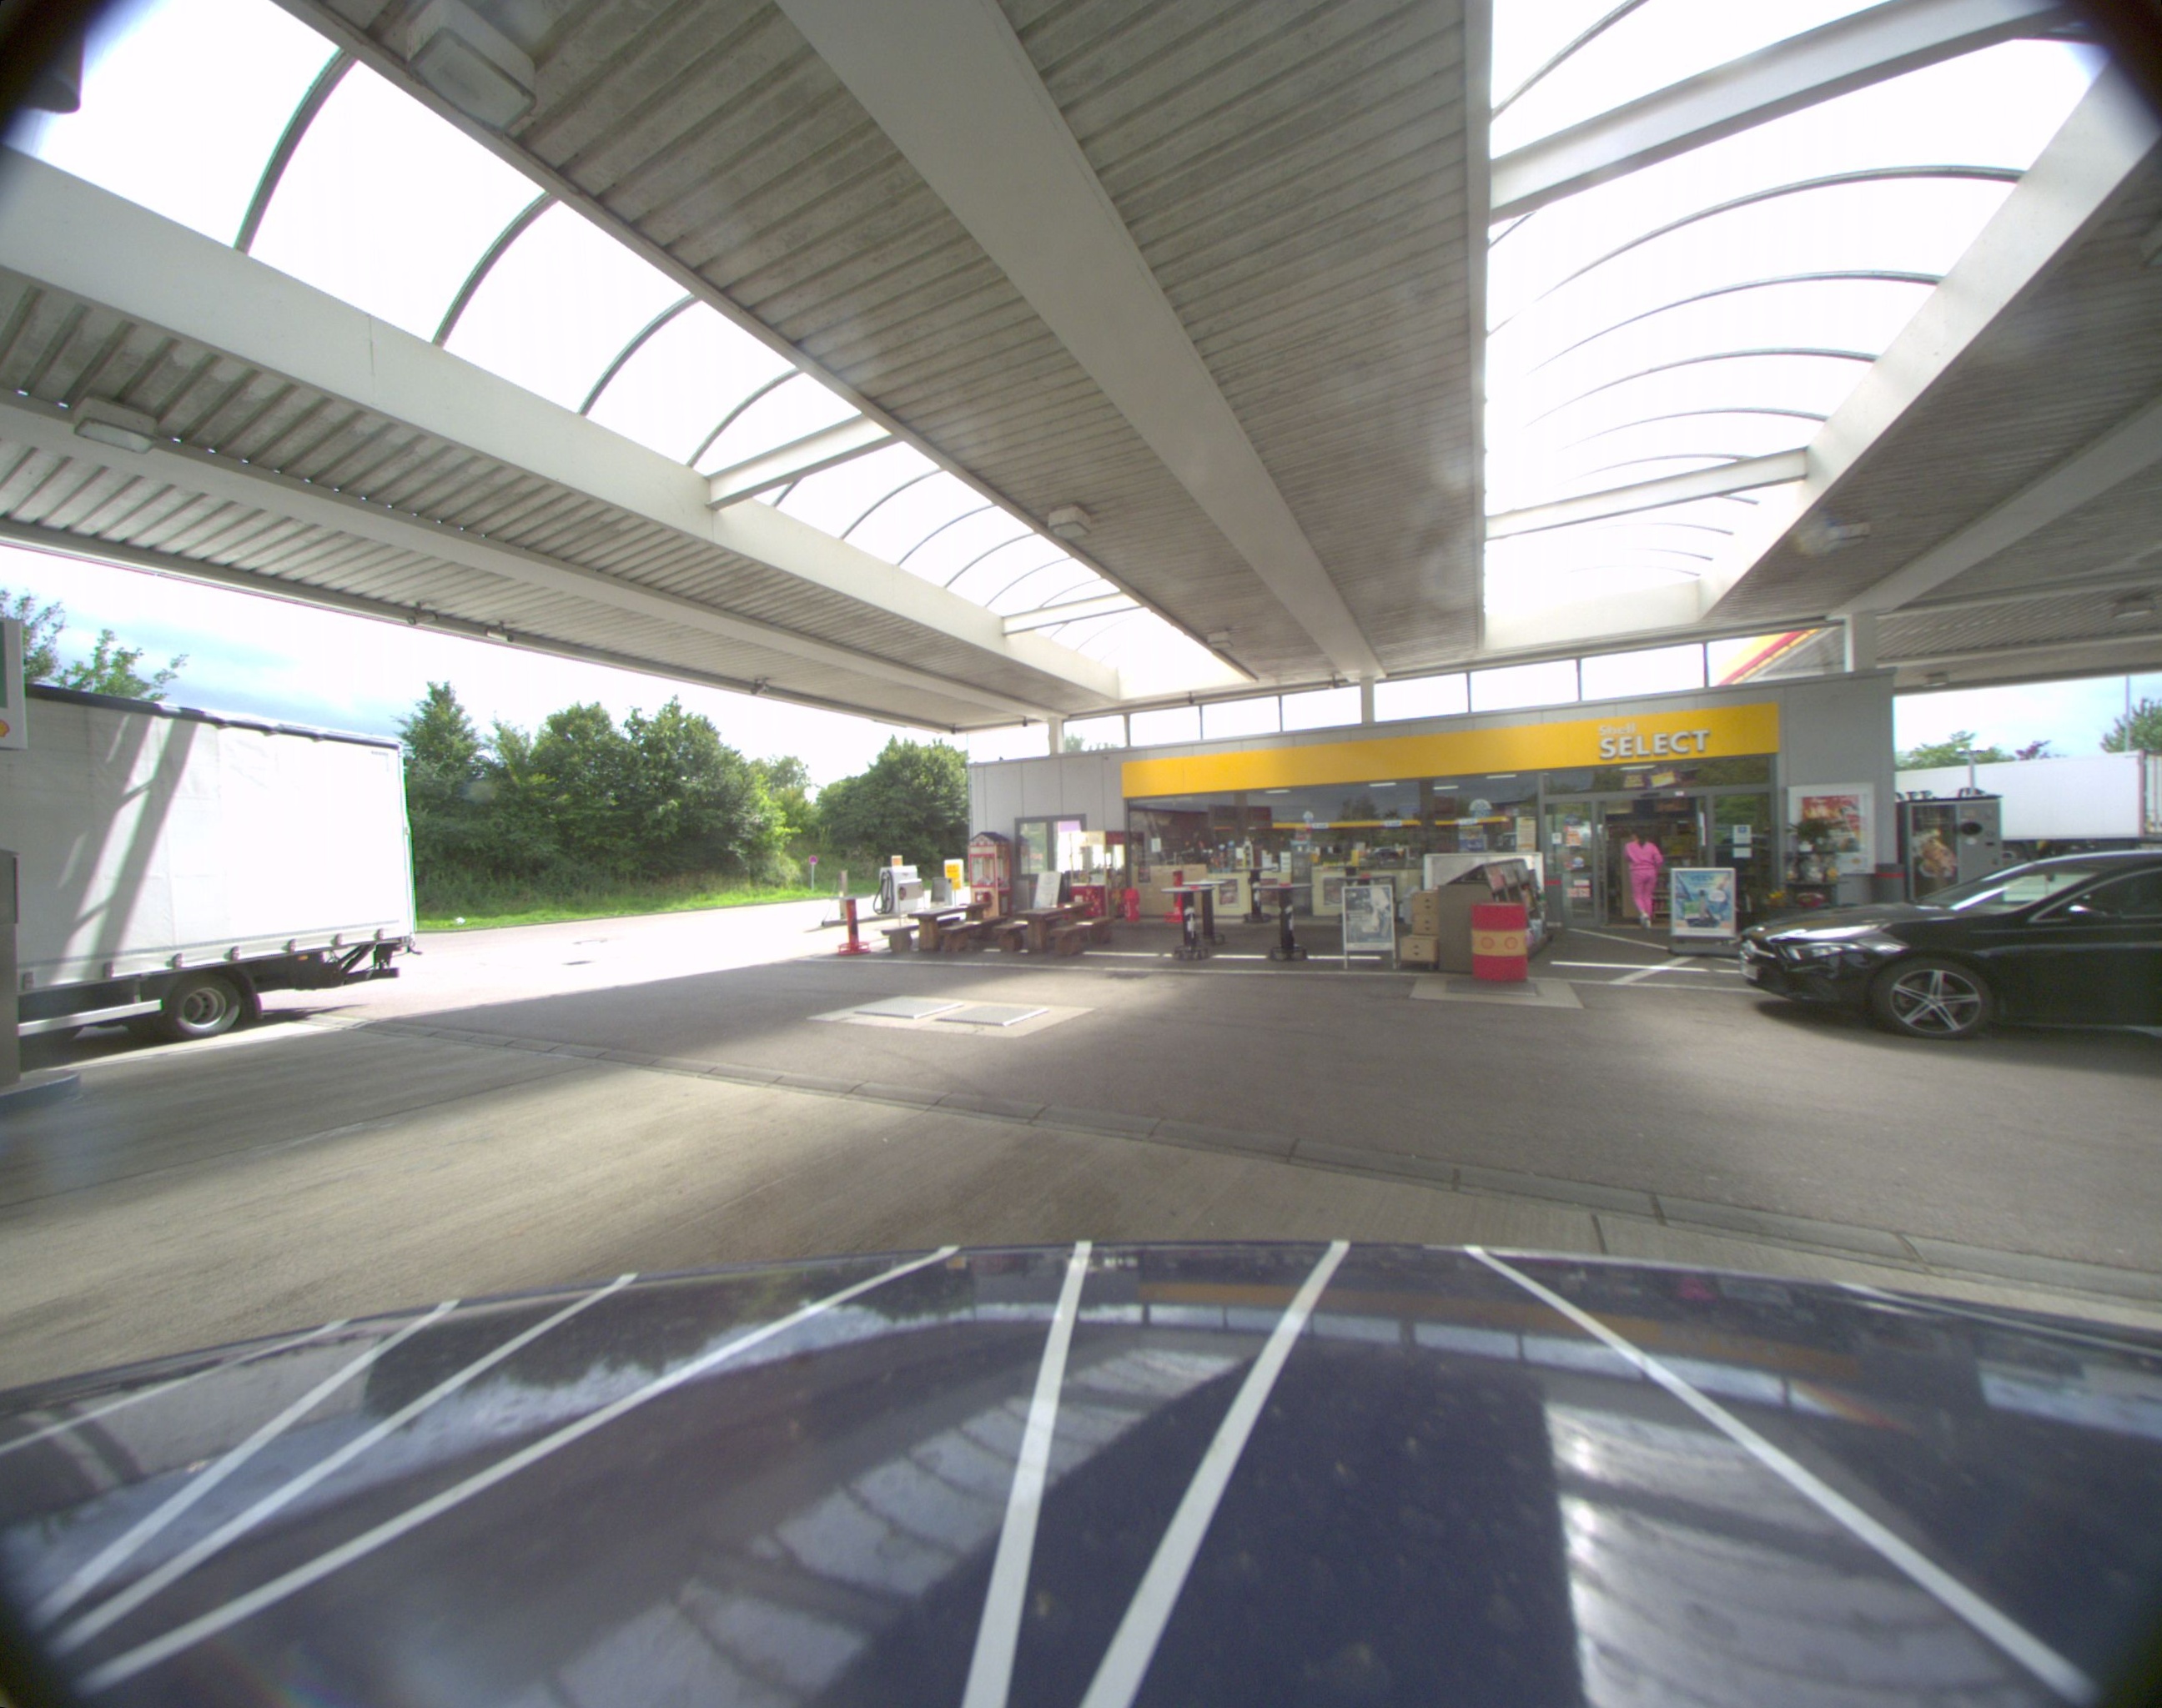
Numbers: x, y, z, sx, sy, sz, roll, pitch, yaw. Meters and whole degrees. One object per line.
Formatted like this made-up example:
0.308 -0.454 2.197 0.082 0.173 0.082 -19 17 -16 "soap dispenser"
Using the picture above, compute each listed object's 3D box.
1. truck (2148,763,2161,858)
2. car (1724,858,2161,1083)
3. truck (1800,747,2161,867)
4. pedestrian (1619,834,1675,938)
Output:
51.479 -2.023 33.153 3.383 4.479 6.239 -2 1 29 "truck"
8.153 0.819 5.951 4.461 1.491 1.782 -2 1 28 "car"
35.130 -1.601 30.072 2.796 3.982 9.578 -2 1 -16 "truck"
9.621 0.532 12.926 0.626 1.703 0.623 -2 1 25 "pedestrian"
